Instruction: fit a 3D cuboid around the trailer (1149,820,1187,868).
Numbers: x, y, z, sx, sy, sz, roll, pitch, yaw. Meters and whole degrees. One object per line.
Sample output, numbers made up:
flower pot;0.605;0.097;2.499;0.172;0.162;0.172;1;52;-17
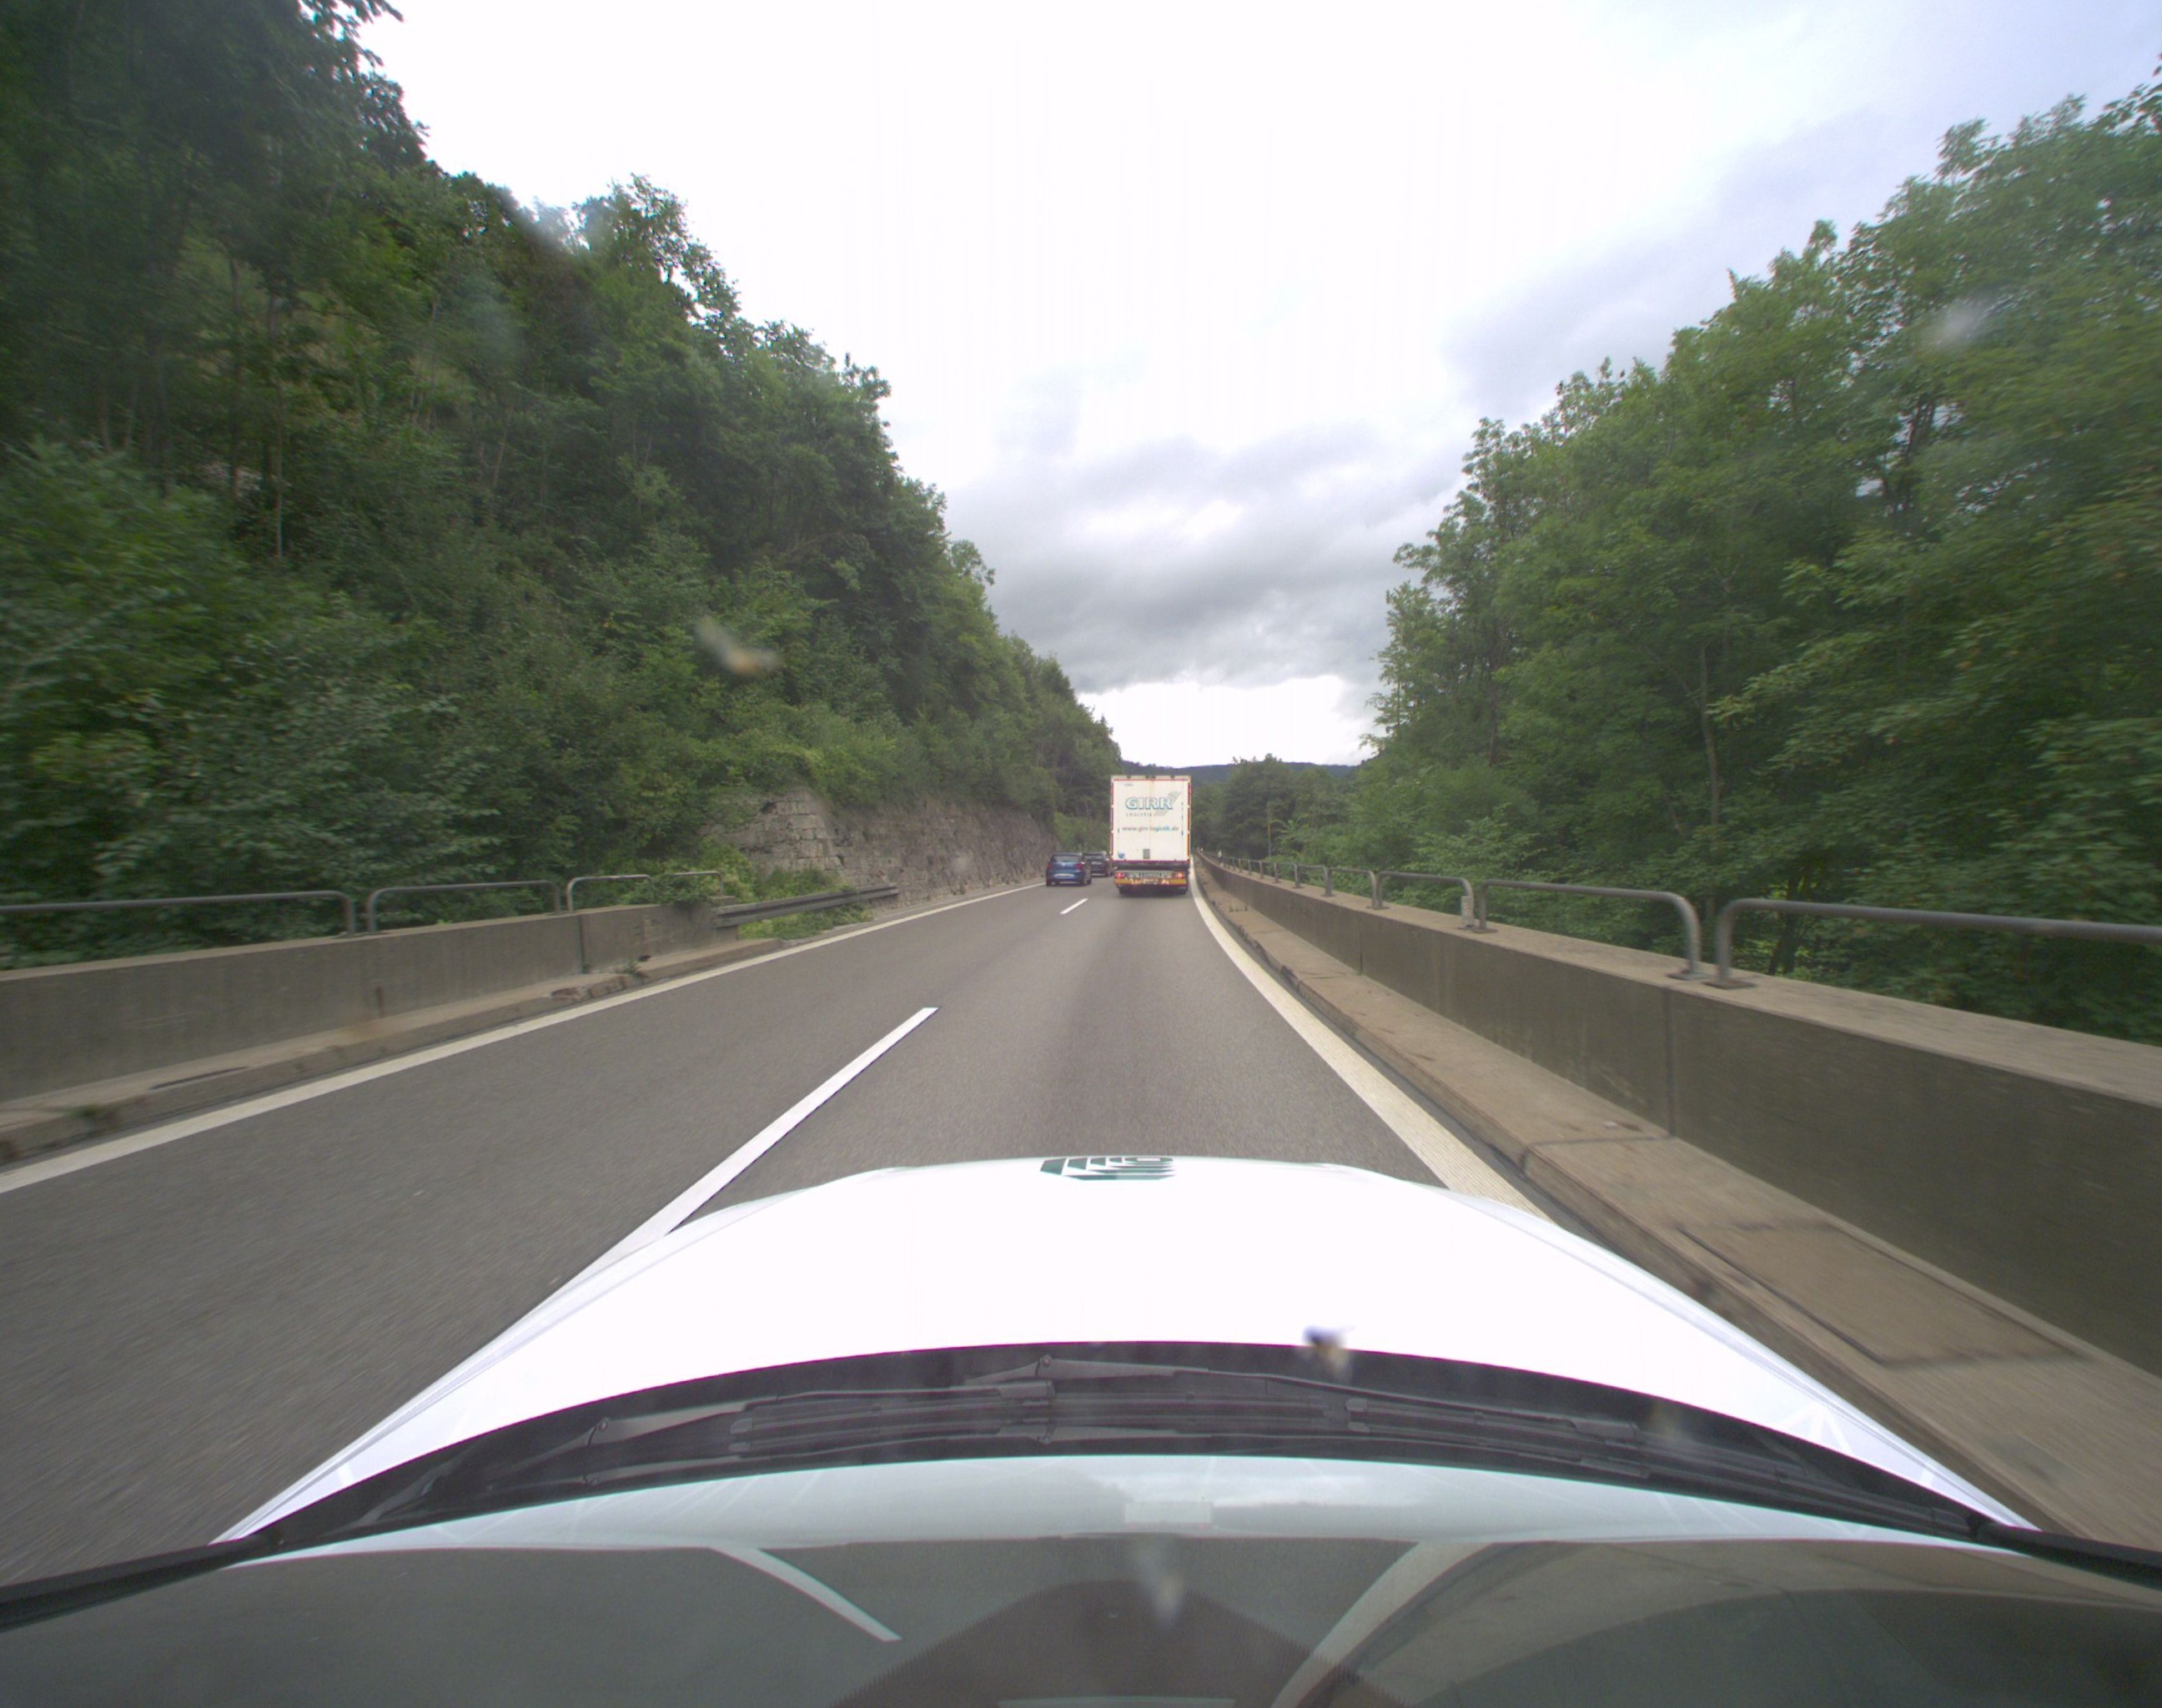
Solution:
trailer;7.726;-0.797;70.783;2.955;3.765;12.481;0;0;8

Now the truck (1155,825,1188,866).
truck;8.590;-0.795;76.887;2.955;3.765;5.582;0;0;7

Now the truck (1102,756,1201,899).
truck;3.099;-0.866;33.324;3.068;4.464;15.183;-1;0;7

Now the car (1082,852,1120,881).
car;1.191;0.725;46.487;1.736;1.587;4.007;-1;-1;7

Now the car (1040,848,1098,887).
car;-0.462;0.547;35.837;1.983;1.596;4.362;-1;1;6

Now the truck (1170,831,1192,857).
truck;15.632;-1.455;126.418;2.953;3.765;10.387;0;0;9
